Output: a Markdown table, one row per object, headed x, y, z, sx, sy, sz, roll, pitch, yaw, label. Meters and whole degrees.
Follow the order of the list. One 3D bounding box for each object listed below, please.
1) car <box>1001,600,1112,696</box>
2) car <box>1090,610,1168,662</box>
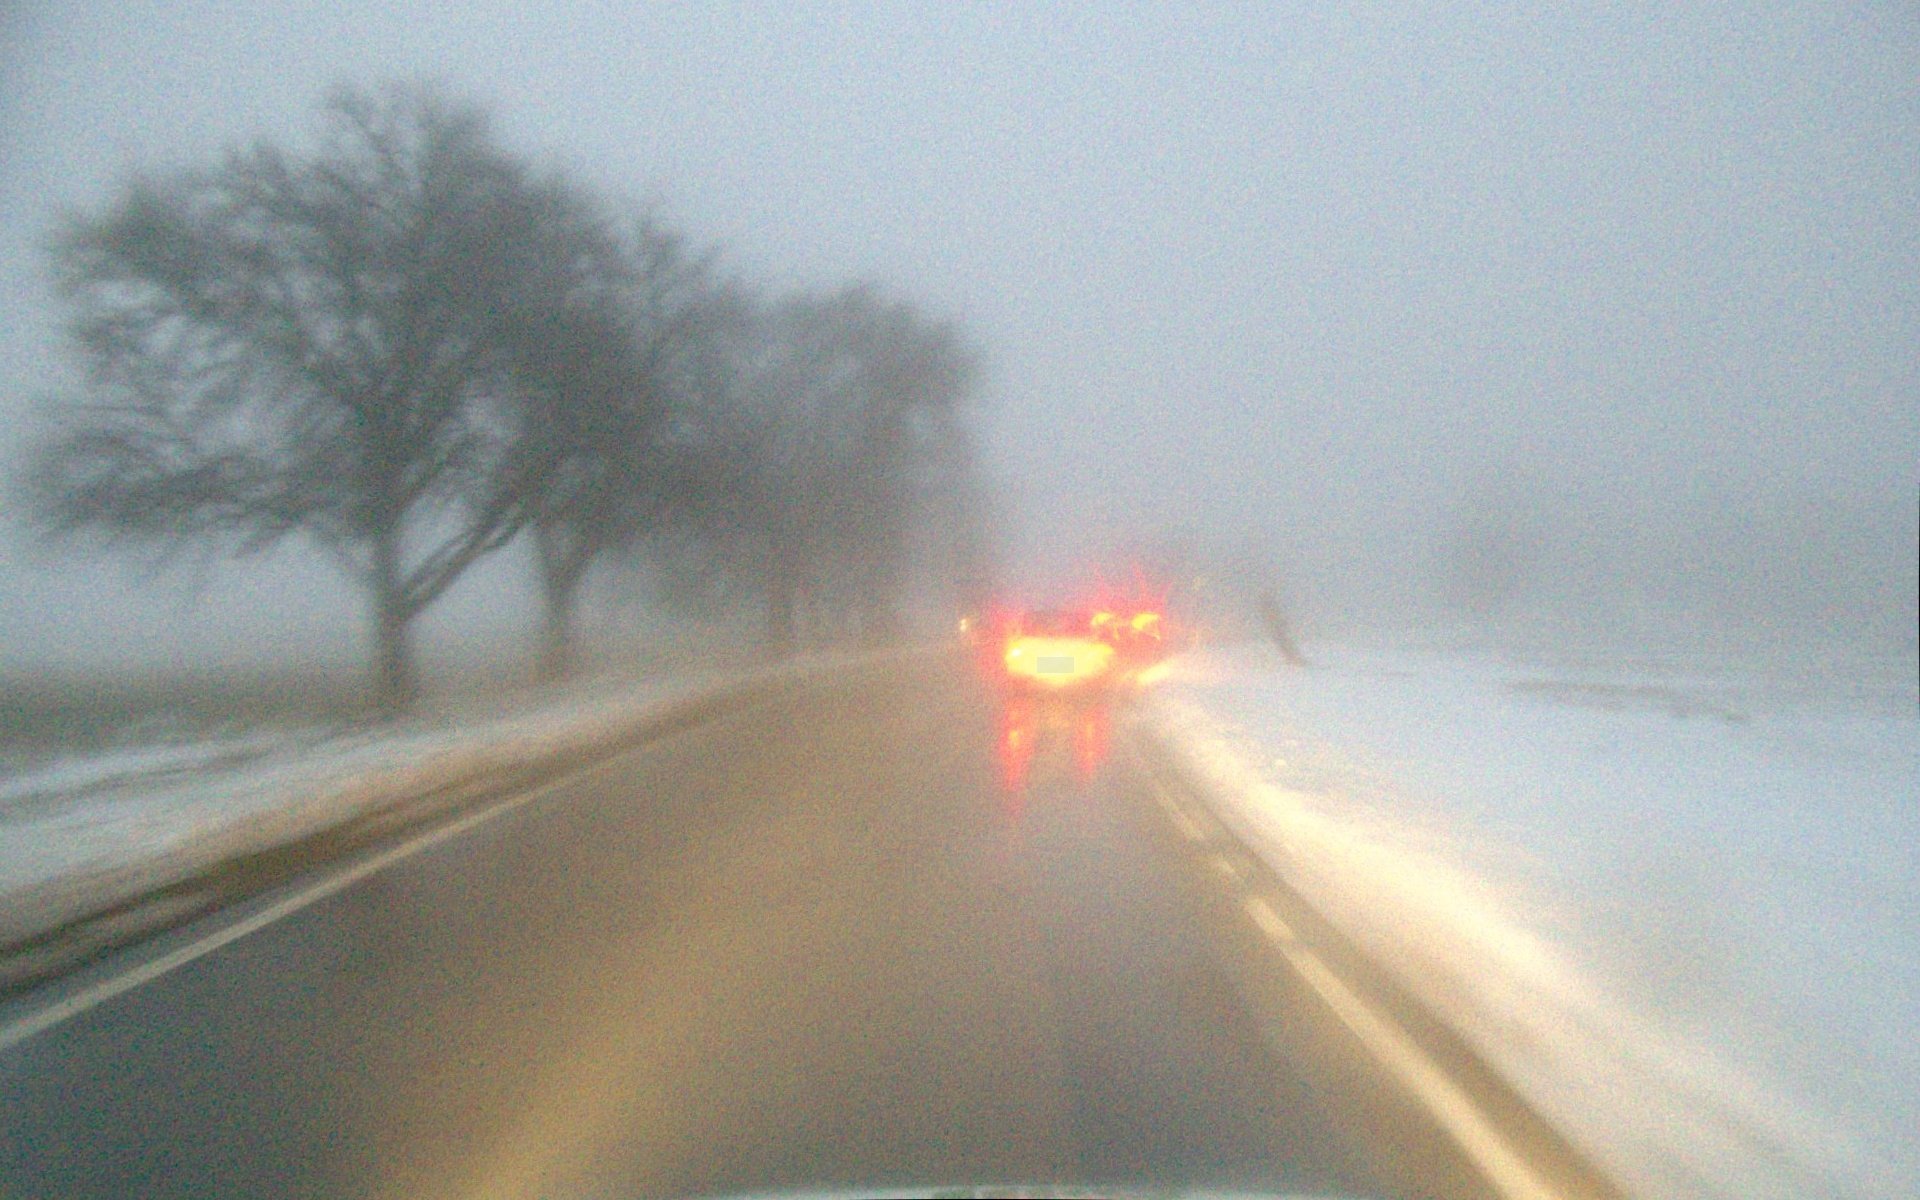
| x | y | z | sx | sy | sz | roll | pitch | yaw | label |
| --- | --- | --- | --- | --- | --- | --- | --- | --- | --- |
| 1.599 | 0.777 | 28.685 | 1.672 | 1.489 | 4.000 | 2 | 0 | 0 | car |
| 5.234 | 1.079 | 51.069 | 1.450 | 1.534 | 3.050 | 0 | 0 | 26 | car |
